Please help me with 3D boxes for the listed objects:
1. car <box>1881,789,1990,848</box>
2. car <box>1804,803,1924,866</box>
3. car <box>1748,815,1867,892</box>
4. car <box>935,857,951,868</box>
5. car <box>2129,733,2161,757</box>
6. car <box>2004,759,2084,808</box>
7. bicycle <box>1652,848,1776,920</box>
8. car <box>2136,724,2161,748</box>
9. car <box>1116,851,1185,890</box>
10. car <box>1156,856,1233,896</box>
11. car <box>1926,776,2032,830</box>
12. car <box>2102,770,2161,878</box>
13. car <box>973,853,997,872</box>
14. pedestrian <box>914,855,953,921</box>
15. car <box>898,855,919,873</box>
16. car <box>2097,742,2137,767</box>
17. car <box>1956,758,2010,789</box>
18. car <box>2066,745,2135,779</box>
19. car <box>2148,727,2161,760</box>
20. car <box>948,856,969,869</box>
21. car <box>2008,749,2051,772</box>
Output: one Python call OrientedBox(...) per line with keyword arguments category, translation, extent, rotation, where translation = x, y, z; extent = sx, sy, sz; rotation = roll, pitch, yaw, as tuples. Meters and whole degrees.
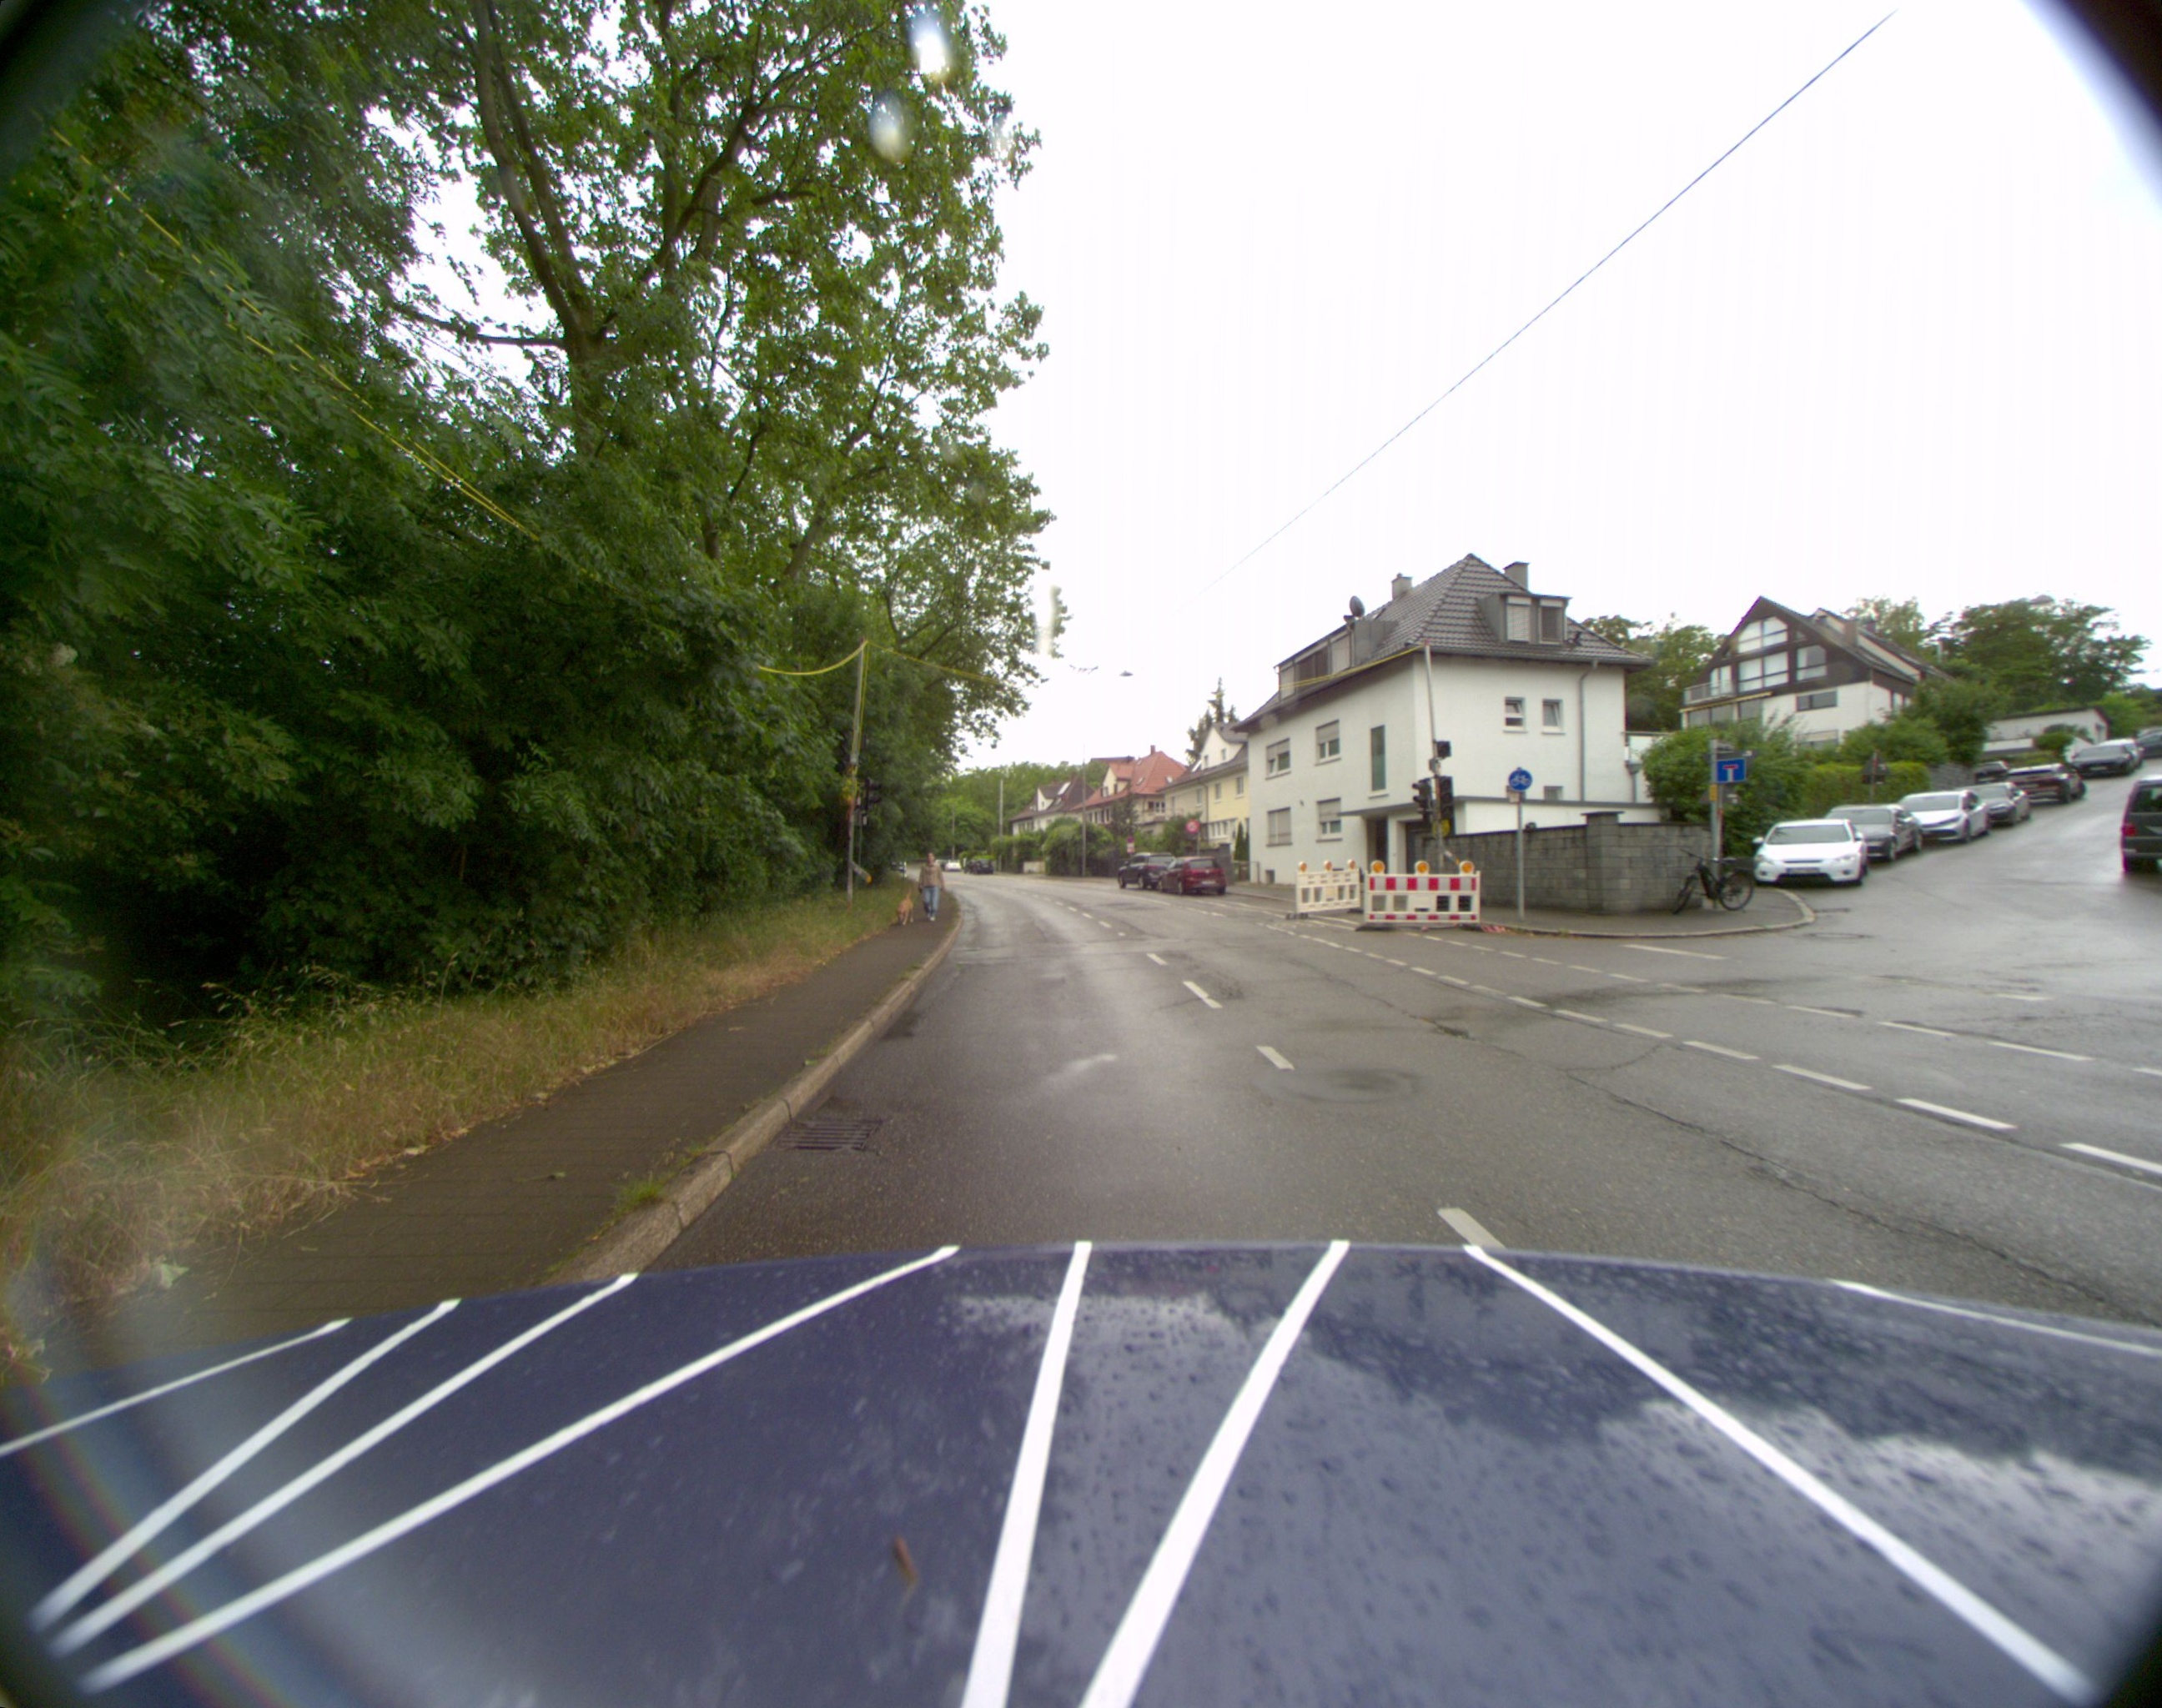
OrientedBox(category="car", translation=(27.269, -1.159, 24.227), extent=(3.951, 1.462, 1.755), rotation=(-7, 3, -33))
OrientedBox(category="car", translation=(22.464, -0.563, 21.754), extent=(3.910, 1.380, 1.719), rotation=(-7, 3, -34))
OrientedBox(category="car", translation=(17.777, -0.053, 18.532), extent=(4.126, 1.455, 1.849), rotation=(-7, 4, -43))
OrientedBox(category="car", translation=(-18.745, 1.134, 103.005), extent=(1.691, 1.419, 3.770), rotation=(-2, 0, -17))
OrientedBox(category="car", translation=(68.323, -6.949, 47.695), extent=(1.286, 1.310, 2.945), rotation=(-3, 1, -36))
OrientedBox(category="car", translation=(40.719, -2.991, 32.109), extent=(4.004, 1.617, 1.638), rotation=(-8, 4, -32))
OrientedBox(category="bicycle", translation=(11.588, 0.533, 13.930), extent=(2.006, 1.232, 0.510), rotation=(-2, 3, -8))
OrientedBox(category="car", translation=(81.116, -8.881, 55.958), extent=(1.754, 1.508, 3.961), rotation=(-3, 1, -35))
OrientedBox(category="car", translation=(3.130, 0.729, 35.028), extent=(1.798, 1.630, 4.150), rotation=(-1, 0, -15))
OrientedBox(category="car", translation=(4.383, 0.815, 29.900), extent=(1.787, 1.423, 3.844), rotation=(-2, 0, -10))
OrientedBox(category="car", translation=(32.327, -1.839, 27.330), extent=(4.111, 1.430, 1.921), rotation=(-9, 4, -33))
OrientedBox(category="car", translation=(23.883, -0.757, 16.257), extent=(4.497, 2.003, 1.996), rotation=(-7, 3, -31))
OrientedBox(category="car", translation=(-9.610, 0.843, 75.950), extent=(1.882, 1.814, 4.121), rotation=(-2, 0, -14))
OrientedBox(category="pedestrian", translation=(-3.452, 0.785, 17.831), extent=(0.735, 1.490, 0.785), rotation=(-1, 1, -1))
OrientedBox(category="car", translation=(-19.338, 1.071, 84.808), extent=(2.104, 1.908, 5.084), rotation=(-2, 0, -14))
OrientedBox(category="car", translation=(59.836, -5.753, 43.895), extent=(2.988, 1.191, 1.305), rotation=(-6, 3, -35))
OrientedBox(category="car", translation=(52.866, -4.659, 44.514), extent=(4.020, 1.545, 1.812), rotation=(-3, 1, -37))
OrientedBox(category="car", translation=(54.814, -4.889, 40.838), extent=(4.034, 1.511, 1.786), rotation=(-2, 0, -31))
OrientedBox(category="car", translation=(72.463, -7.460, 48.979), extent=(2.003, 2.000, 3.993), rotation=(-2, -4, -32))
OrientedBox(category="car", translation=(-15.237, 1.073, 94.170), extent=(2.071, 1.477, 4.556), rotation=(-2, 0, -16))
OrientedBox(category="car", translation=(57.237, -5.649, 45.862), extent=(3.656, 1.205, 1.577), rotation=(-7, 3, -38))
